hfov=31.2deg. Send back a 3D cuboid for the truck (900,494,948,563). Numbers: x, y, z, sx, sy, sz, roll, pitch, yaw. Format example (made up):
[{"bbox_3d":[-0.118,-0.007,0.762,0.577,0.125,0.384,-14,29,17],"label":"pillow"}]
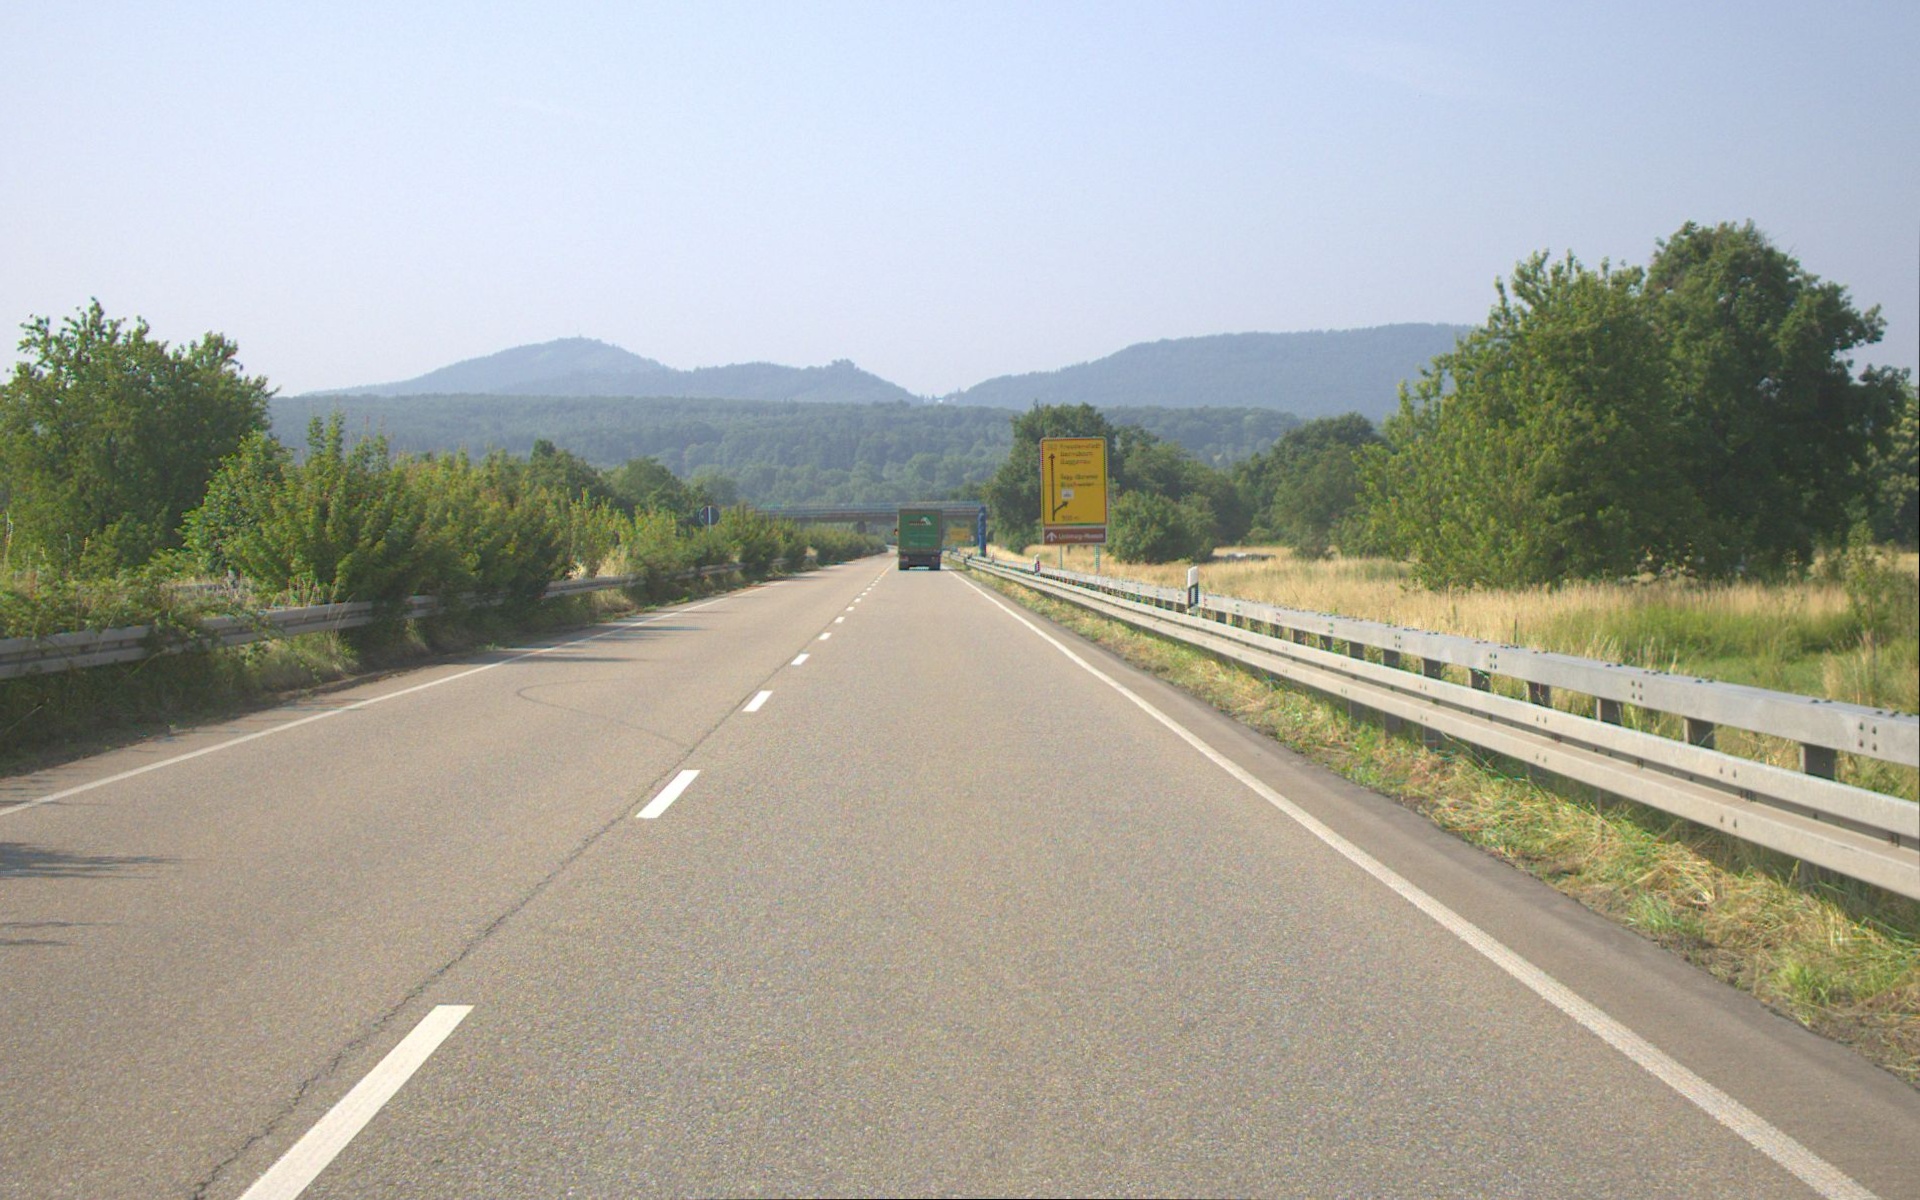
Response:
[{"bbox_3d":[-2.125,-4.321,205.958,2.722,3.952,10.417,1,2,0],"label":"truck"}]
